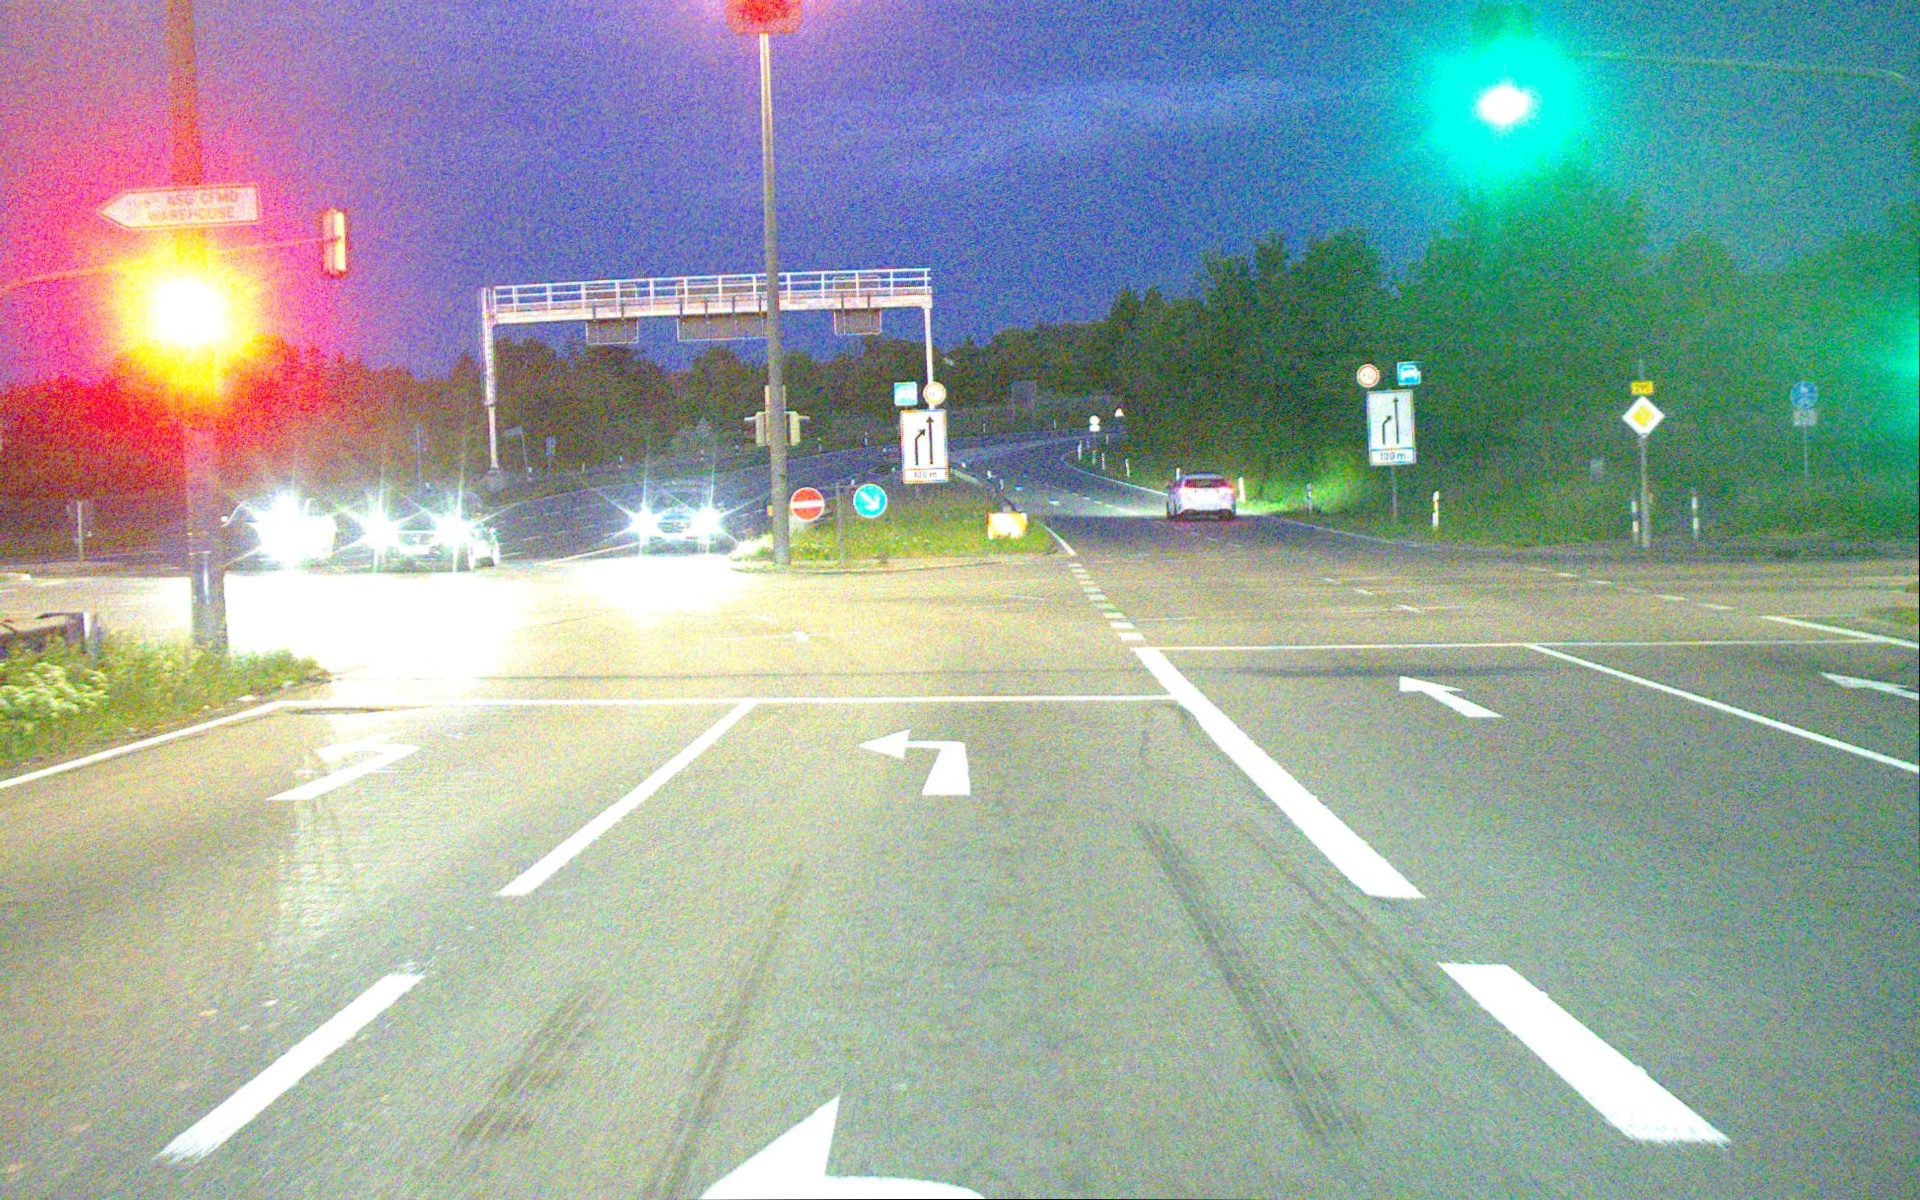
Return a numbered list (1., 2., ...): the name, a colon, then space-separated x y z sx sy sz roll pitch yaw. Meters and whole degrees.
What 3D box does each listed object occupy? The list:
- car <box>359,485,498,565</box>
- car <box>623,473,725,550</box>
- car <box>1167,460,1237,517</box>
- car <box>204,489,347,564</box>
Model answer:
1. car: -10.328 -1.490 67.157 1.993 1.476 4.682 -1 2 0
2. car: -6.507 -2.043 78.501 1.993 1.692 4.001 -1 2 0
3. car: 7.204 -3.311 102.538 2.008 1.605 3.845 -1 1 3
4. car: -13.829 -1.513 69.649 1.993 1.420 4.533 -1 2 0
